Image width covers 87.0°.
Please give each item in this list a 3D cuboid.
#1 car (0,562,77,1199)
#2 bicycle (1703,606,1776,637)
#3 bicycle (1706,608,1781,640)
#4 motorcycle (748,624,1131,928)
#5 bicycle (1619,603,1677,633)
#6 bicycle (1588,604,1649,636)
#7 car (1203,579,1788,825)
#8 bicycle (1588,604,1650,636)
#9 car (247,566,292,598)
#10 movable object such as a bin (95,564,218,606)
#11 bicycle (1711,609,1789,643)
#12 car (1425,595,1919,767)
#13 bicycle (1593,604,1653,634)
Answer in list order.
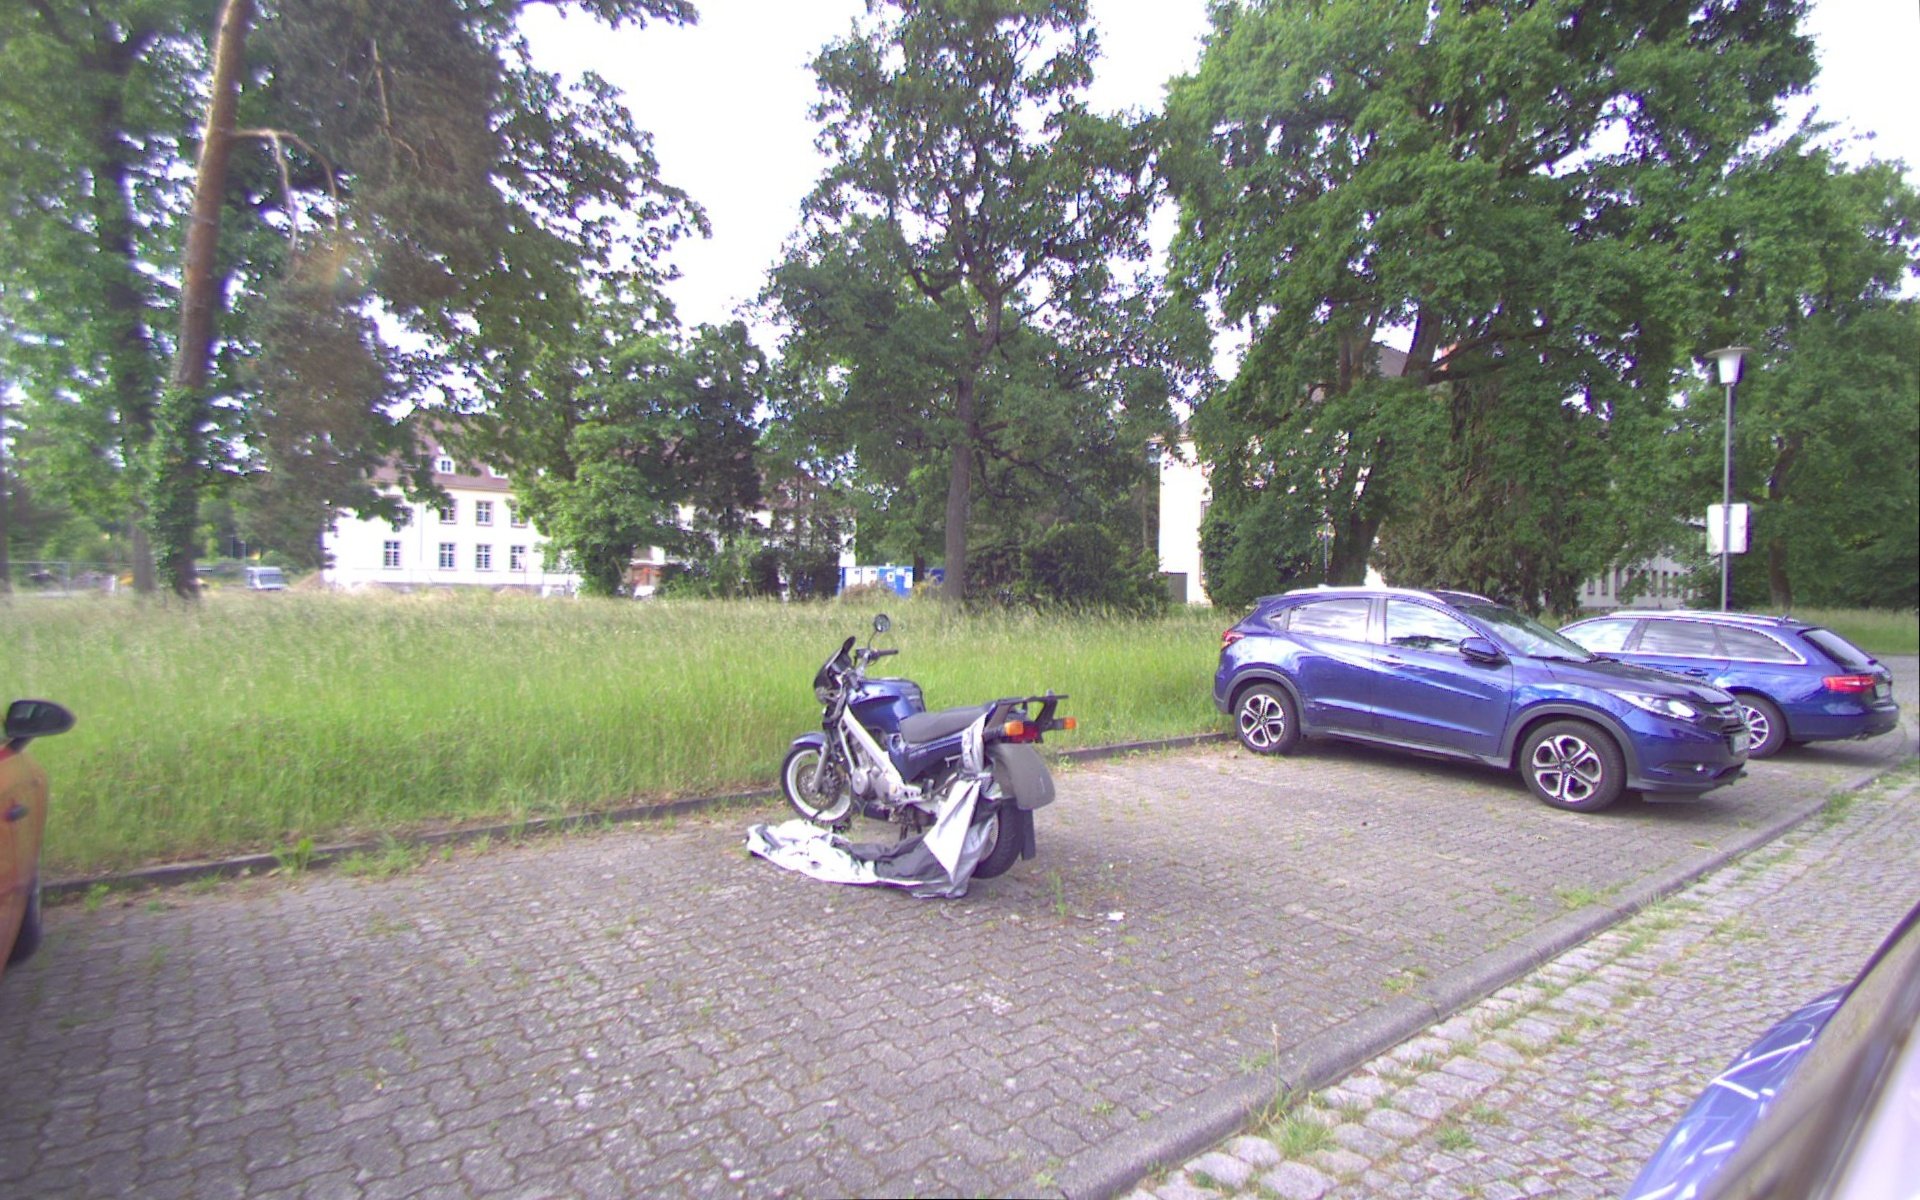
[{"bbox_3d":[-3.475,0.659,2.550,1.747,1.478,3.835,0,2,-39],"label":"car"},{"bbox_3d":[28.377,0.762,36.873,2.011,1.090,0.616,0,0,28],"label":"bicycle"},{"bbox_3d":[27.151,0.820,35.097,1.952,1.090,0.583,0,0,24],"label":"bicycle"},{"bbox_3d":[-0.229,0.799,5.583,0.781,1.200,2.331,0,2,-41],"label":"motorcycle"},{"bbox_3d":[27.168,0.701,39.994,1.840,1.137,0.616,0,0,28],"label":"bicycle"},{"bbox_3d":[24.341,0.723,37.431,1.840,1.137,0.616,0,0,28],"label":"bicycle"},{"bbox_3d":[4.364,0.626,8.835,1.761,1.591,4.172,-1,2,-39],"label":"car"},{"bbox_3d":[24.007,0.725,36.889,1.840,1.137,0.616,0,0,28],"label":"bicycle"},{"bbox_3d":[-52.540,-1.374,76.970,4.581,2.377,1.887,0,0,43],"label":"car"},{"bbox_3d":[-51.901,-0.946,65.489,5.853,2.688,2.179,0,0,-12],"label":"movable object such as a bin"},{"bbox_3d":[26.282,0.862,33.699,1.952,1.090,0.583,0,0,24],"label":"bicycle"},{"bbox_3d":[7.998,0.741,11.676,1.751,1.439,4.485,0,2,-36],"label":"car"},{"bbox_3d":[25.367,0.716,38.756,1.840,1.137,0.616,0,0,28],"label":"bicycle"}]
